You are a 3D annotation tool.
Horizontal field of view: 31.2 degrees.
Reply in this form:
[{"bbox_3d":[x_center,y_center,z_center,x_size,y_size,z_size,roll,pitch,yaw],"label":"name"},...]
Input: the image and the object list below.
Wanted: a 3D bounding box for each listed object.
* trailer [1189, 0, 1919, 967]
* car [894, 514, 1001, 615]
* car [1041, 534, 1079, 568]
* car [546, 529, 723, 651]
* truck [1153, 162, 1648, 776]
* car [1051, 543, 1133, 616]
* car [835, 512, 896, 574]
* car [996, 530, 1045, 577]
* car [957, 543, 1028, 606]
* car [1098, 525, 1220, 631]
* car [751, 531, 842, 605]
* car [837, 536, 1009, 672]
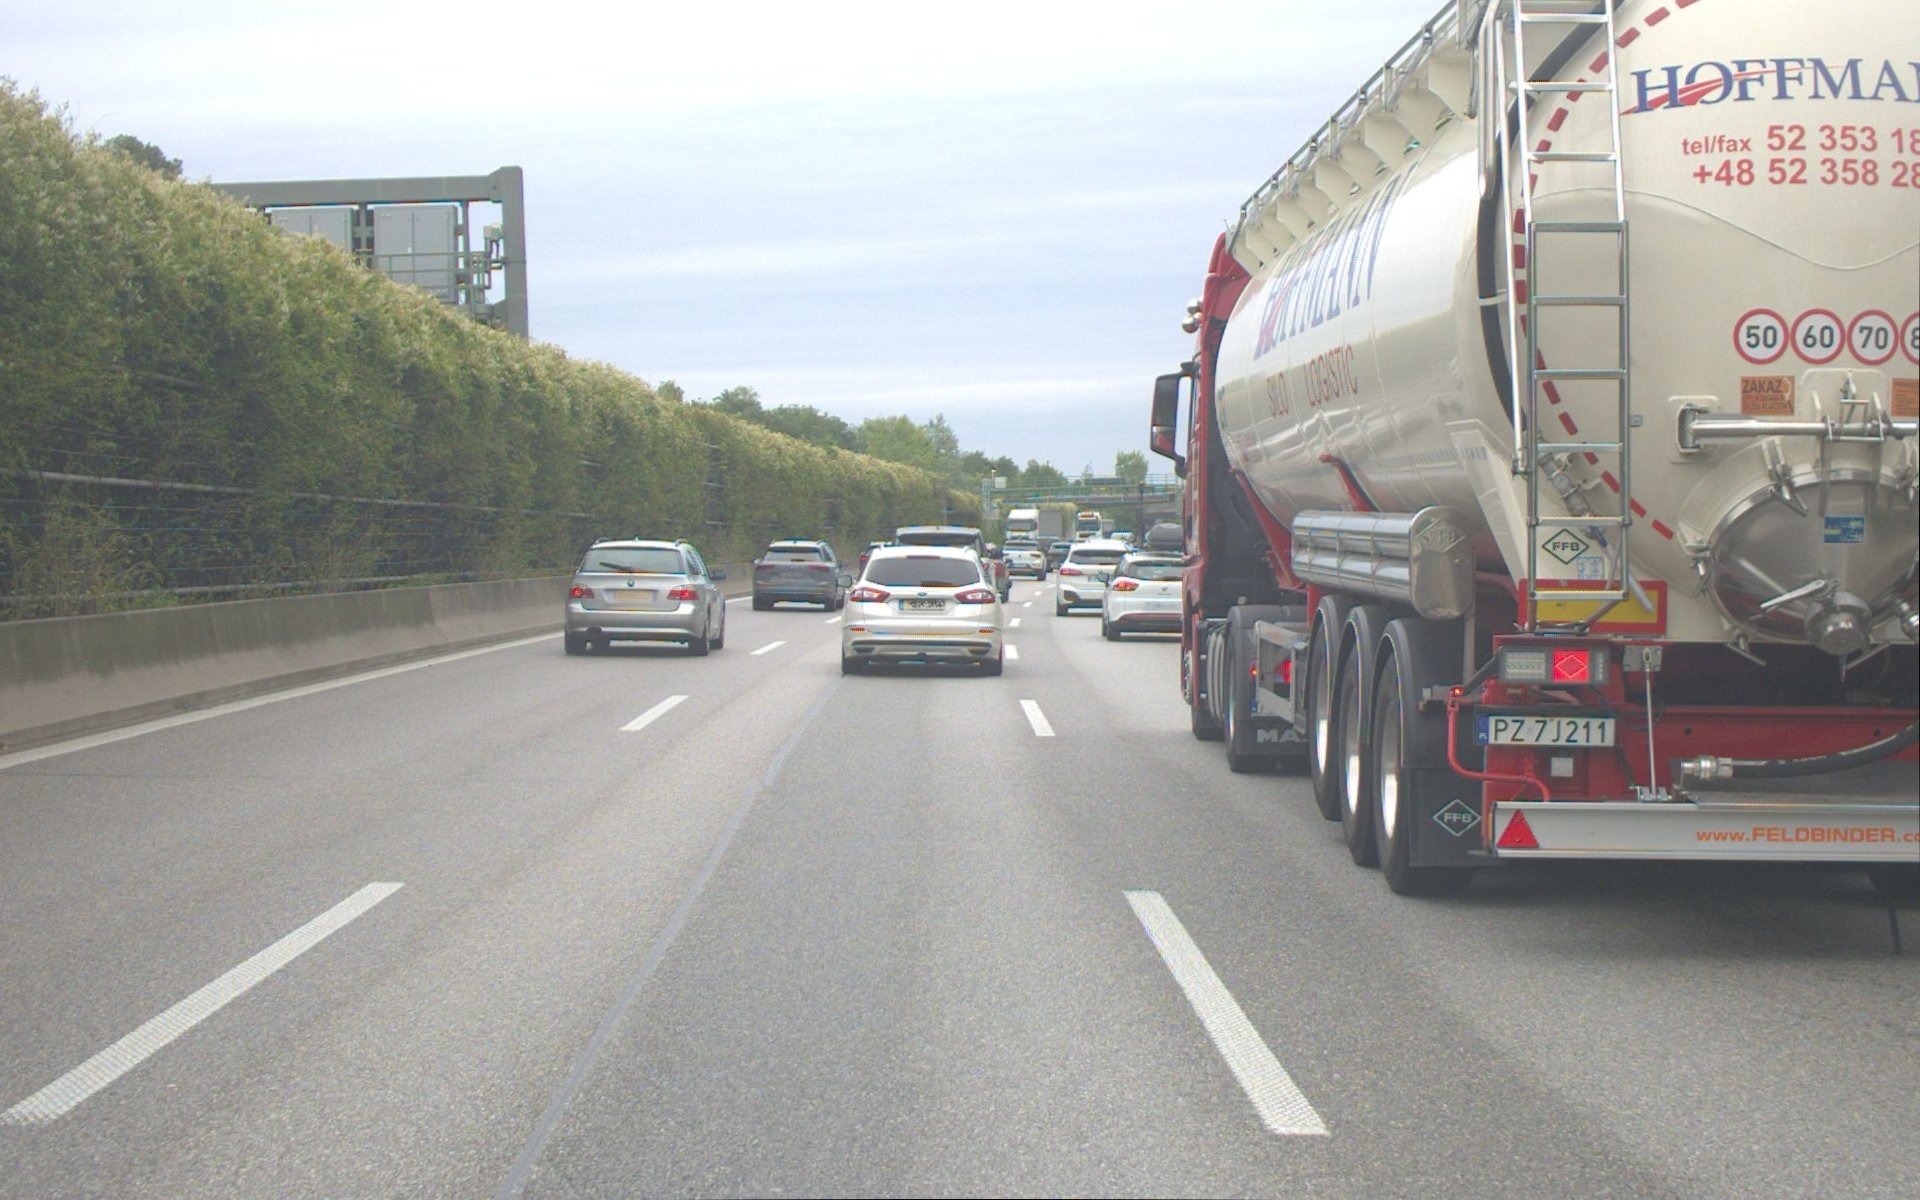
[{"bbox_3d":[3.088,-0.770,18.481,2.668,3.925,13.131,0,1,-1],"label":"trailer"},{"bbox_3d":[-0.214,-0.640,58.976,1.689,1.501,3.872,4,2,0],"label":"car"},{"bbox_3d":[4.689,-2.313,160.999,1.689,1.534,3.871,0,1,3],"label":"car"},{"bbox_3d":[-4.218,-0.176,45.214,1.720,1.464,5.030,0,2,1],"label":"car"},{"bbox_3d":[2.994,-0.875,25.217,2.695,3.899,6.557,0,1,-1],"label":"truck"},{"bbox_3d":[2.780,-0.443,72.763,1.689,1.501,3.871,0,1,2],"label":"car"},{"bbox_3d":[-3.128,-1.897,114.118,1.993,2.007,3.841,0,1,-1],"label":"car"},{"bbox_3d":[2.346,-1.787,131.897,1.790,1.773,3.871,-1,1,2],"label":"car"},{"bbox_3d":[0.790,-0.651,84.651,1.689,1.501,3.871,0,1,0],"label":"car"},{"bbox_3d":[3.157,-0.385,55.442,1.816,1.620,5.030,0,1,2],"label":"car"},{"bbox_3d":[-3.437,-0.708,72.960,1.720,1.507,5.030,0,1,0],"label":"car"},{"bbox_3d":[-0.380,0.000,40.369,1.892,1.499,5.030,0,1,1],"label":"car"}]
